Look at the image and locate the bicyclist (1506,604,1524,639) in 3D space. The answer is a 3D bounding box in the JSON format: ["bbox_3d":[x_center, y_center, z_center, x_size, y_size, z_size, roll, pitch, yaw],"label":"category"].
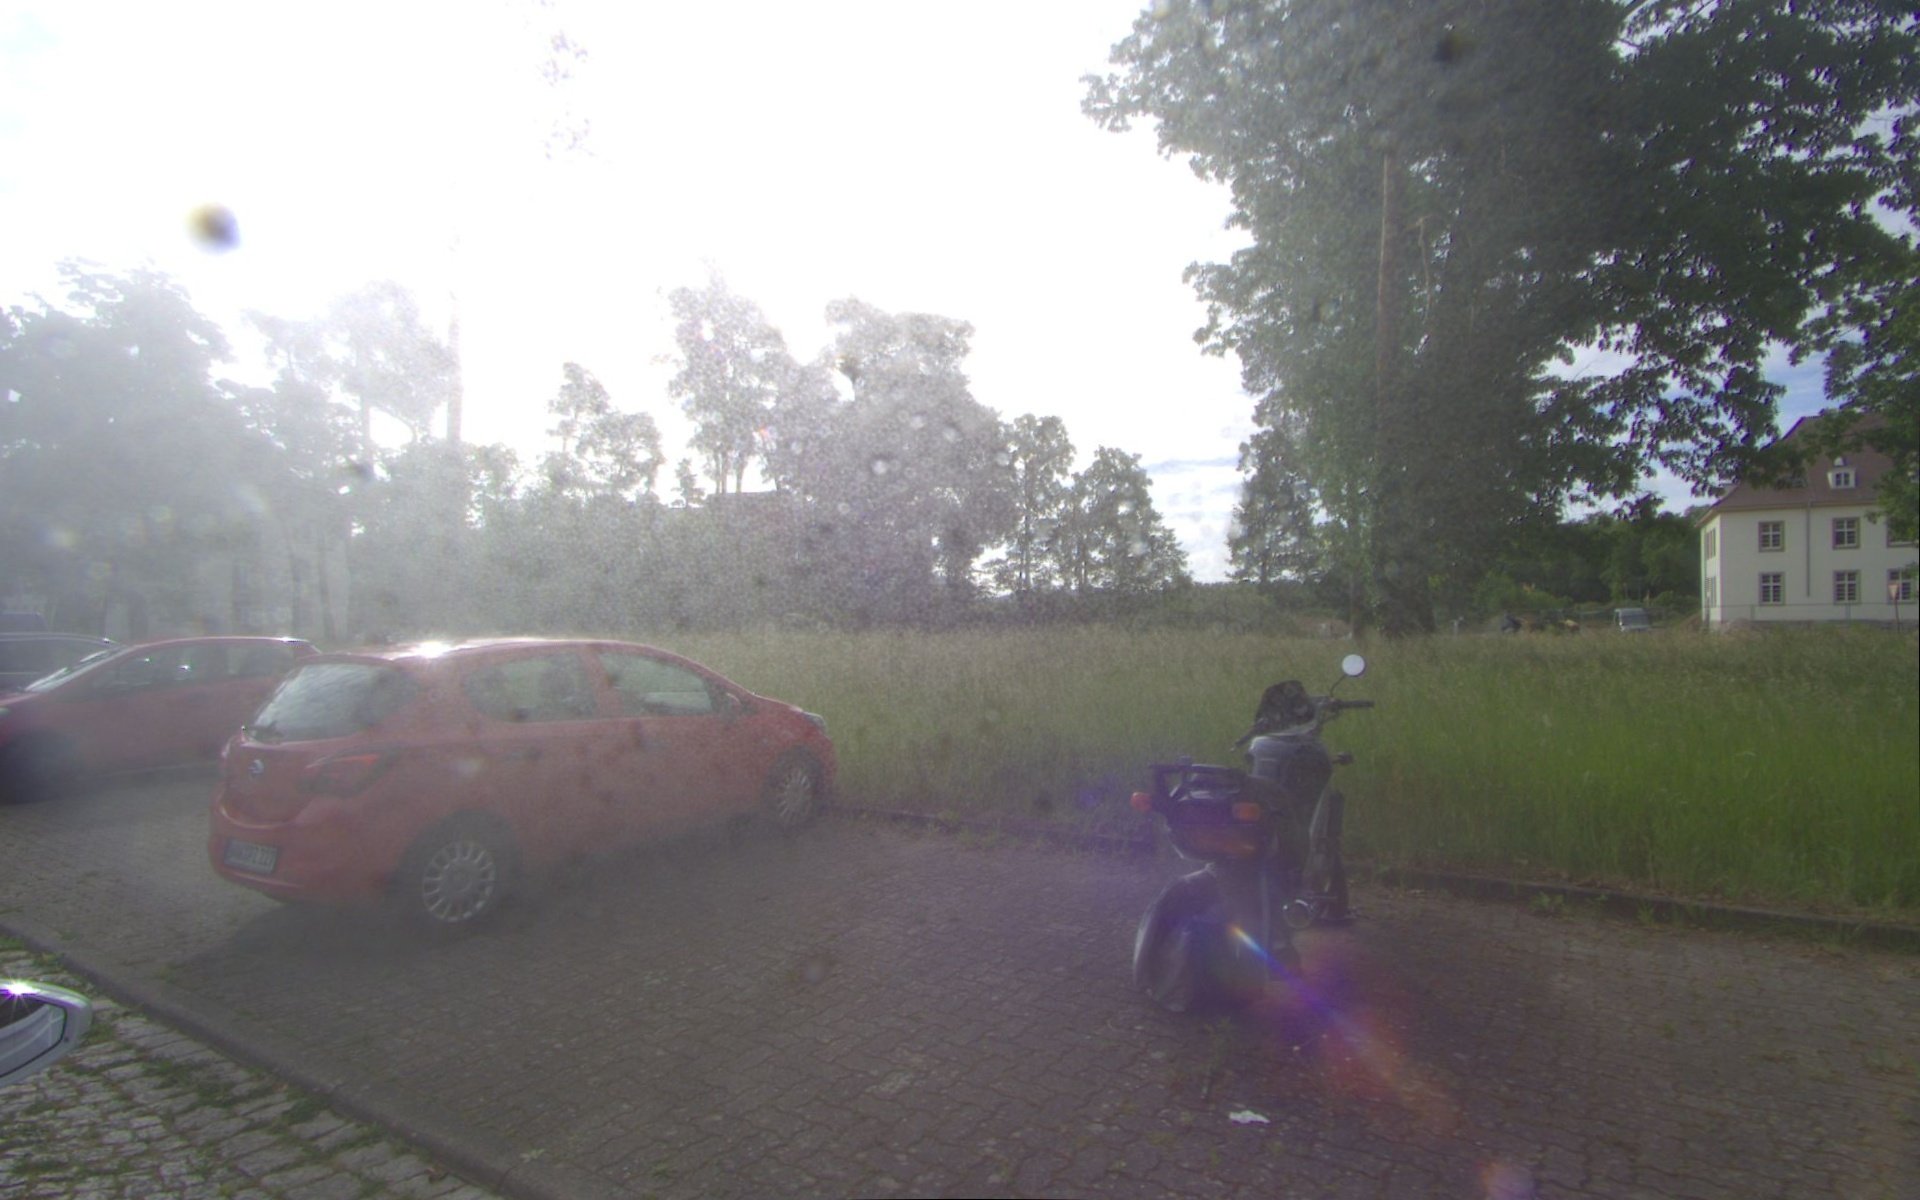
[{"bbox_3d":[27.865,1.080,50.247,0.761,1.717,0.724,-1,-1,31],"label":"bicyclist"}]

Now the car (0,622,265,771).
[{"bbox_3d":[-10.983,1.113,11.969,1.725,1.573,4.022,-2,0,30],"label":"car"}]

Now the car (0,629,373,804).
[{"bbox_3d":[-8.678,1.116,10.689,1.727,1.479,3.783,-2,0,33],"label":"car"}]

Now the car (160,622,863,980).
[{"bbox_3d":[-2.505,0.942,6.488,1.754,1.479,3.817,-2,0,32],"label":"car"}]

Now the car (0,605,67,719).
[{"bbox_3d":[-18.397,1.127,16.792,1.903,1.980,4.745,-1,0,31],"label":"car"}]

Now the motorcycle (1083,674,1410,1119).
[{"bbox_3d":[1.351,0.994,4.260,0.783,1.201,2.323,-1,0,30],"label":"motorcycle"}]

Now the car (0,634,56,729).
[{"bbox_3d":[-16.393,1.320,15.178,1.591,1.468,3.666,-2,0,30],"label":"car"}]

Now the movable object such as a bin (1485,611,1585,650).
[{"bbox_3d":[41.195,2.186,71.903,2.148,2.688,5.939,1,-2,-35],"label":"movable object such as a bin"}]

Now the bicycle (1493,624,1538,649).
[{"bbox_3d":[27.845,1.832,50.219,1.905,1.244,0.722,-1,-2,32],"label":"bicycle"}]

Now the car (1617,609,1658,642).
[{"bbox_3d":[51.674,1.967,76.452,1.886,2.377,4.584,-1,-2,25],"label":"car"}]
